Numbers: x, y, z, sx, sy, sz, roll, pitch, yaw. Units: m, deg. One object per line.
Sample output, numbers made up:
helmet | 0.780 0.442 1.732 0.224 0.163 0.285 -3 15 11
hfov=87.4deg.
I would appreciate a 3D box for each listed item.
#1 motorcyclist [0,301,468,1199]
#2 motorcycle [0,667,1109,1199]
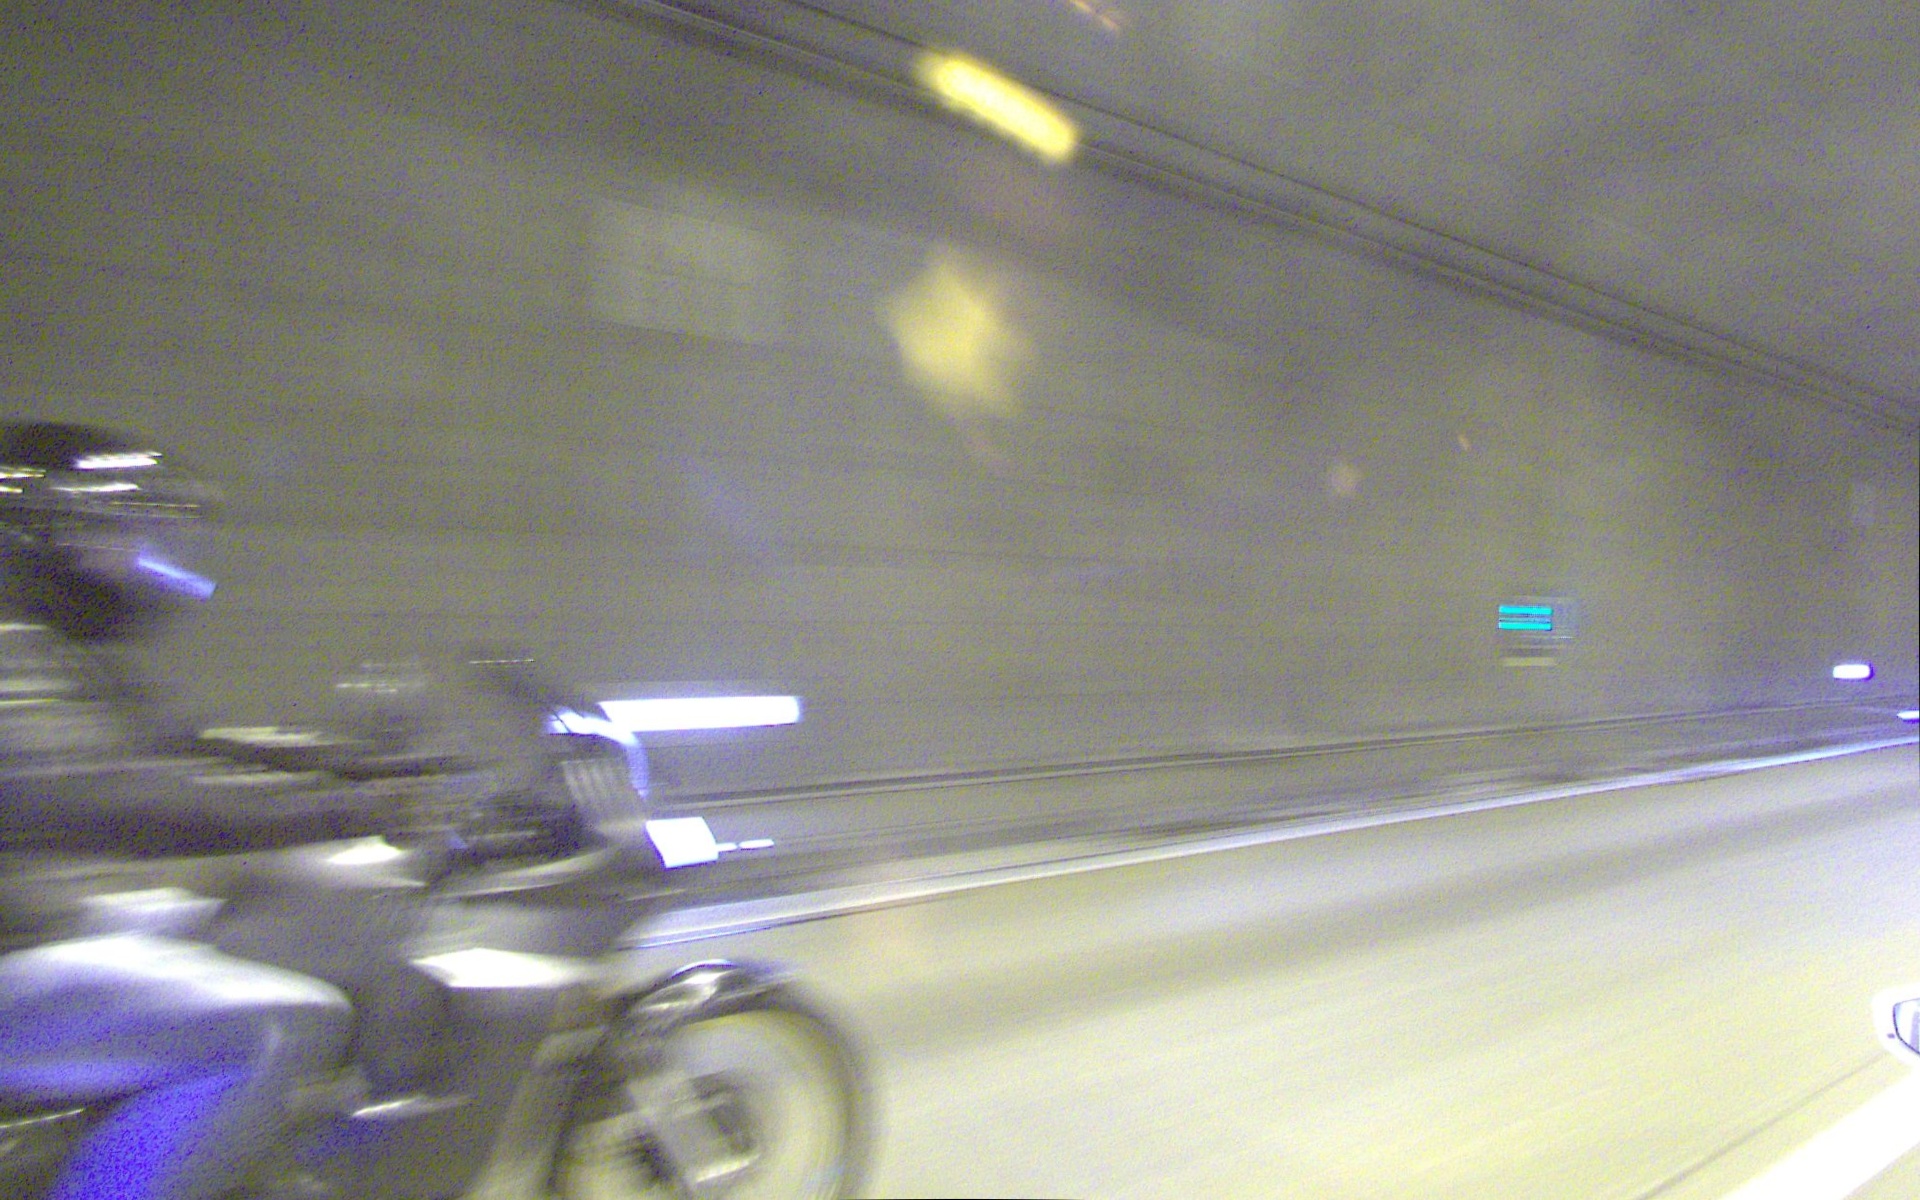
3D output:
motorcyclist | -1.239 0.409 1.541 0.811 1.497 0.835 1 0 -29
motorcycle | -1.026 0.795 1.712 2.574 1.262 0.841 1 0 -31
